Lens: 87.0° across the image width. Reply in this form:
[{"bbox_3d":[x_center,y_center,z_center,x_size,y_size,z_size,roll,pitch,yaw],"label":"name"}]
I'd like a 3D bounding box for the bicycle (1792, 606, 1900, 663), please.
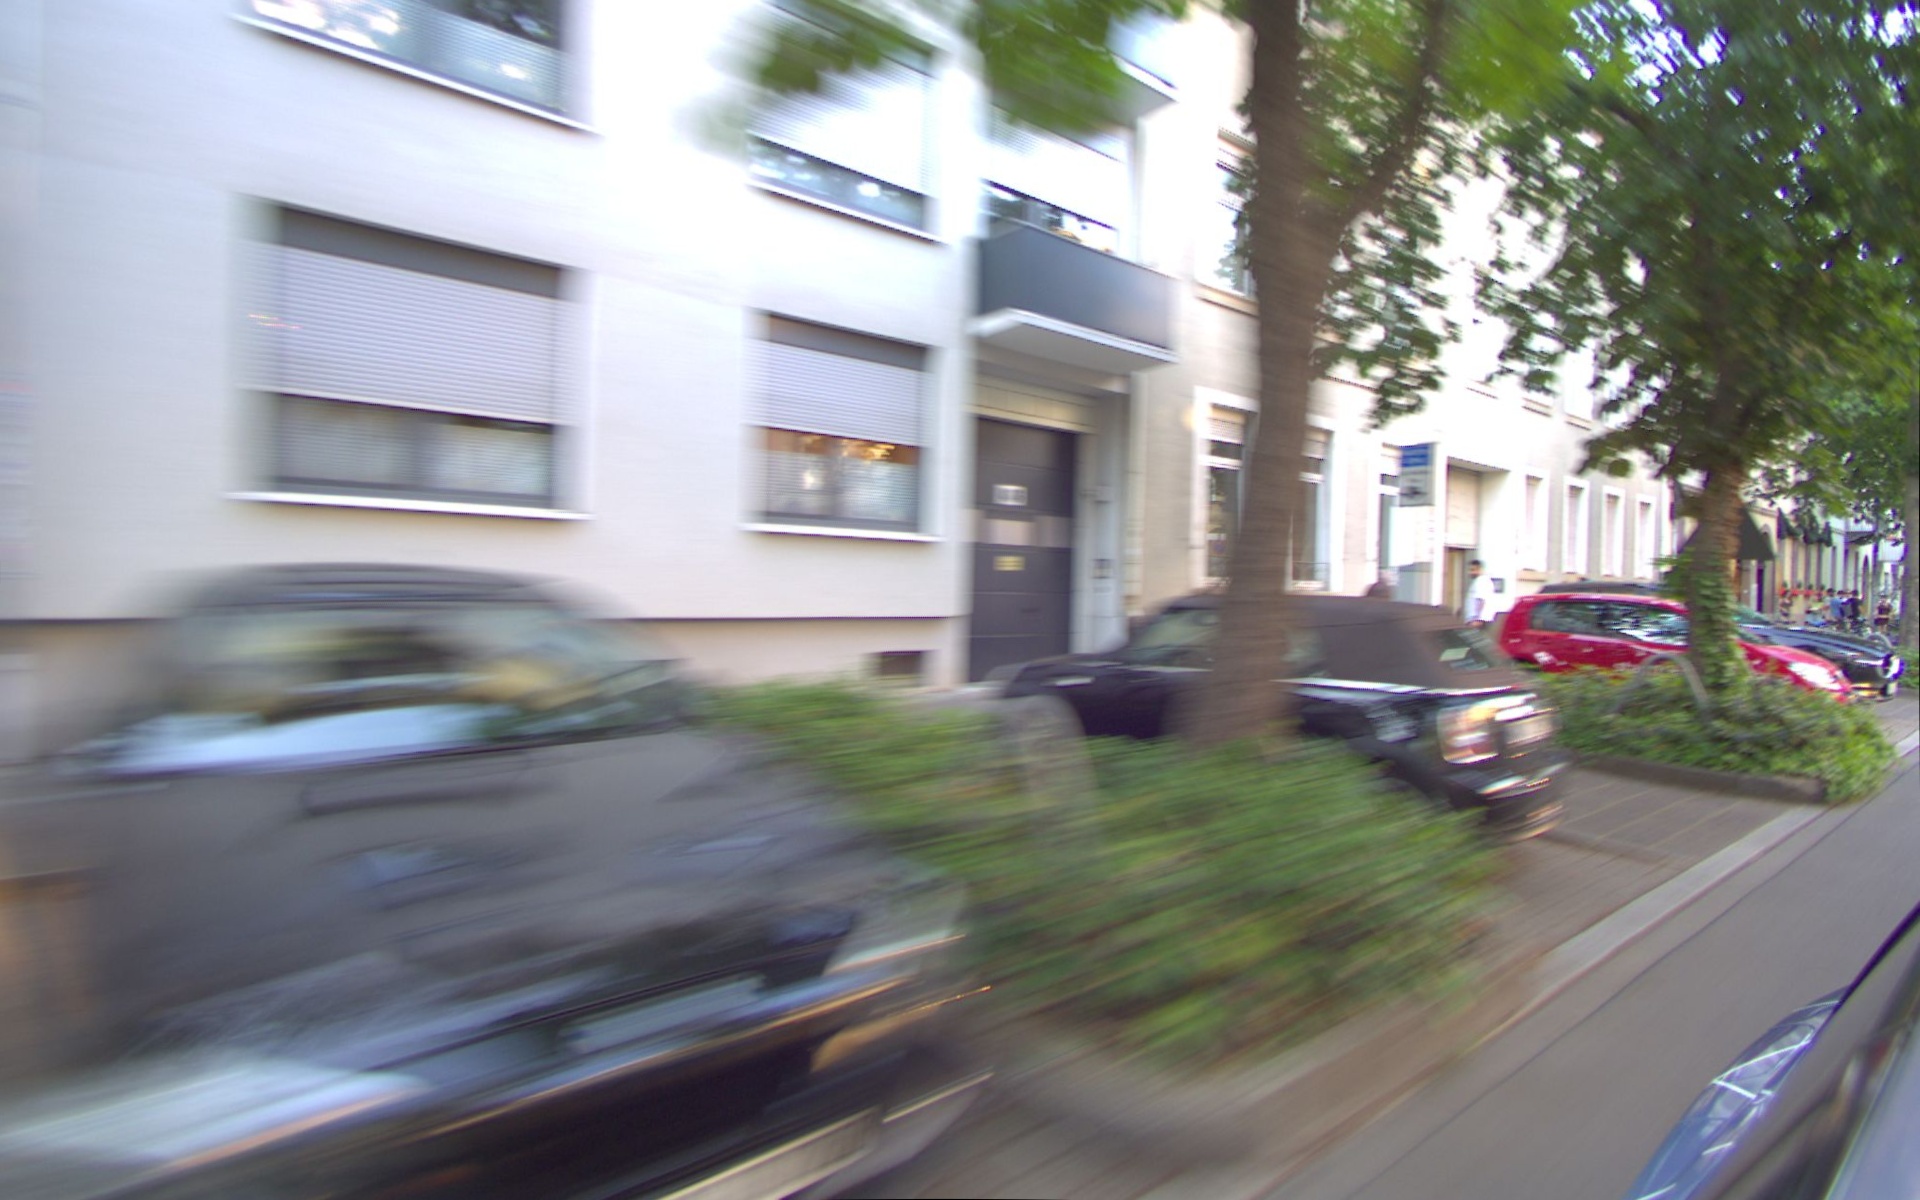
[{"bbox_3d":[20.273,0.768,23.196,1.793,1.157,0.641,4,2,42],"label":"bicycle"}]

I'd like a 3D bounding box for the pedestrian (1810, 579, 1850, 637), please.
[{"bbox_3d":[27.416,0.247,31.892,0.774,1.760,0.676,4,2,34],"label":"pedestrian"}]

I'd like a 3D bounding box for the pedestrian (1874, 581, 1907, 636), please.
[{"bbox_3d":[30.846,0.286,33.546,0.714,1.760,0.707,2,2,-45],"label":"pedestrian"}]

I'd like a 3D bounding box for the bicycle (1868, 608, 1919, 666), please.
[{"bbox_3d":[20.831,0.819,21.779,0.590,1.193,1.834,1,2,-40],"label":"bicycle"}]

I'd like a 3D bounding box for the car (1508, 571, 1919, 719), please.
[{"bbox_3d":[10.468,0.492,14.254,1.865,1.676,4.438,1,2,-38],"label":"car"}]

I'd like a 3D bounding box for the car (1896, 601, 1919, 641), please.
[{"bbox_3d":[37.072,0.923,36.683,1.853,1.410,4.410,0,5,-42],"label":"car"}]

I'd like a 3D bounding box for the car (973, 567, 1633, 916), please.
[{"bbox_3d":[1.957,0.596,6.443,1.867,1.470,3.490,1,2,-42],"label":"car"}]

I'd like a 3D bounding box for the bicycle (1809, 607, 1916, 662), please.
[{"bbox_3d":[21.002,0.783,23.572,1.795,1.142,0.653,4,2,45],"label":"bicycle"}]

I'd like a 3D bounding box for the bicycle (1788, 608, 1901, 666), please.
[{"bbox_3d":[19.361,0.789,22.184,0.492,1.121,1.795,1,2,-45],"label":"bicycle"}]

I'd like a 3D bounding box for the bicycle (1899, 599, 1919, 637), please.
[{"bbox_3d":[32.571,0.655,33.697,1.793,1.247,0.663,6,4,41],"label":"bicycle"}]

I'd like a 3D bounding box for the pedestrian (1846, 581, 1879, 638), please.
[{"bbox_3d":[28.872,0.300,32.385,0.612,1.760,0.616,2,2,-40],"label":"pedestrian"}]

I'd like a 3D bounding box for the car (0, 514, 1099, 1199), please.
[{"bbox_3d":[-1.984,0.518,3.375,1.999,1.439,4.723,1,2,-40],"label":"car"}]

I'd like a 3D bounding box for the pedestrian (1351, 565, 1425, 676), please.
[{"bbox_3d":[6.284,0.283,14.867,0.816,1.555,0.656,1,1,-39],"label":"pedestrian"}]

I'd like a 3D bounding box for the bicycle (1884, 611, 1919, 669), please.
[{"bbox_3d":[20.108,0.853,20.603,1.835,1.149,0.734,3,2,40],"label":"bicycle"}]

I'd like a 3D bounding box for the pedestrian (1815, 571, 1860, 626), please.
[{"bbox_3d":[29.146,-0.069,33.613,0.729,1.760,0.729,3,1,-13],"label":"pedestrian"}]

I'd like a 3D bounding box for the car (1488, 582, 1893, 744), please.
[{"bbox_3d":[8.396,0.598,11.825,1.867,1.470,3.490,1,2,-42],"label":"car"}]

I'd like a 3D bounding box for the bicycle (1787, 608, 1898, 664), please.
[{"bbox_3d":[19.683,0.778,22.596,0.492,1.121,1.795,1,2,-45],"label":"bicycle"}]

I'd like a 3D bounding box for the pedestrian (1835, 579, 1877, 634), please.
[{"bbox_3d":[29.985,0.216,33.877,0.732,1.760,0.716,3,1,-20],"label":"pedestrian"}]

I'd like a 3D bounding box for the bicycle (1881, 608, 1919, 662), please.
[{"bbox_3d":[22.446,0.832,23.223,0.661,1.193,1.834,1,2,-40],"label":"bicycle"}]

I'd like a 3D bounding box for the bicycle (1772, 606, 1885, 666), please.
[{"bbox_3d":[18.740,0.753,21.881,1.793,1.157,0.659,4,2,42],"label":"bicycle"}]

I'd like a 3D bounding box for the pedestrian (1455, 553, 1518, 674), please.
[{"bbox_3d":[7.933,0.187,15.270,0.683,1.758,0.670,2,1,19],"label":"pedestrian"}]

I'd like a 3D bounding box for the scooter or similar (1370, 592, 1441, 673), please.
[{"bbox_3d":[6.702,0.474,15.227,0.816,1.167,0.656,1,2,-39],"label":"scooter or similar"}]
